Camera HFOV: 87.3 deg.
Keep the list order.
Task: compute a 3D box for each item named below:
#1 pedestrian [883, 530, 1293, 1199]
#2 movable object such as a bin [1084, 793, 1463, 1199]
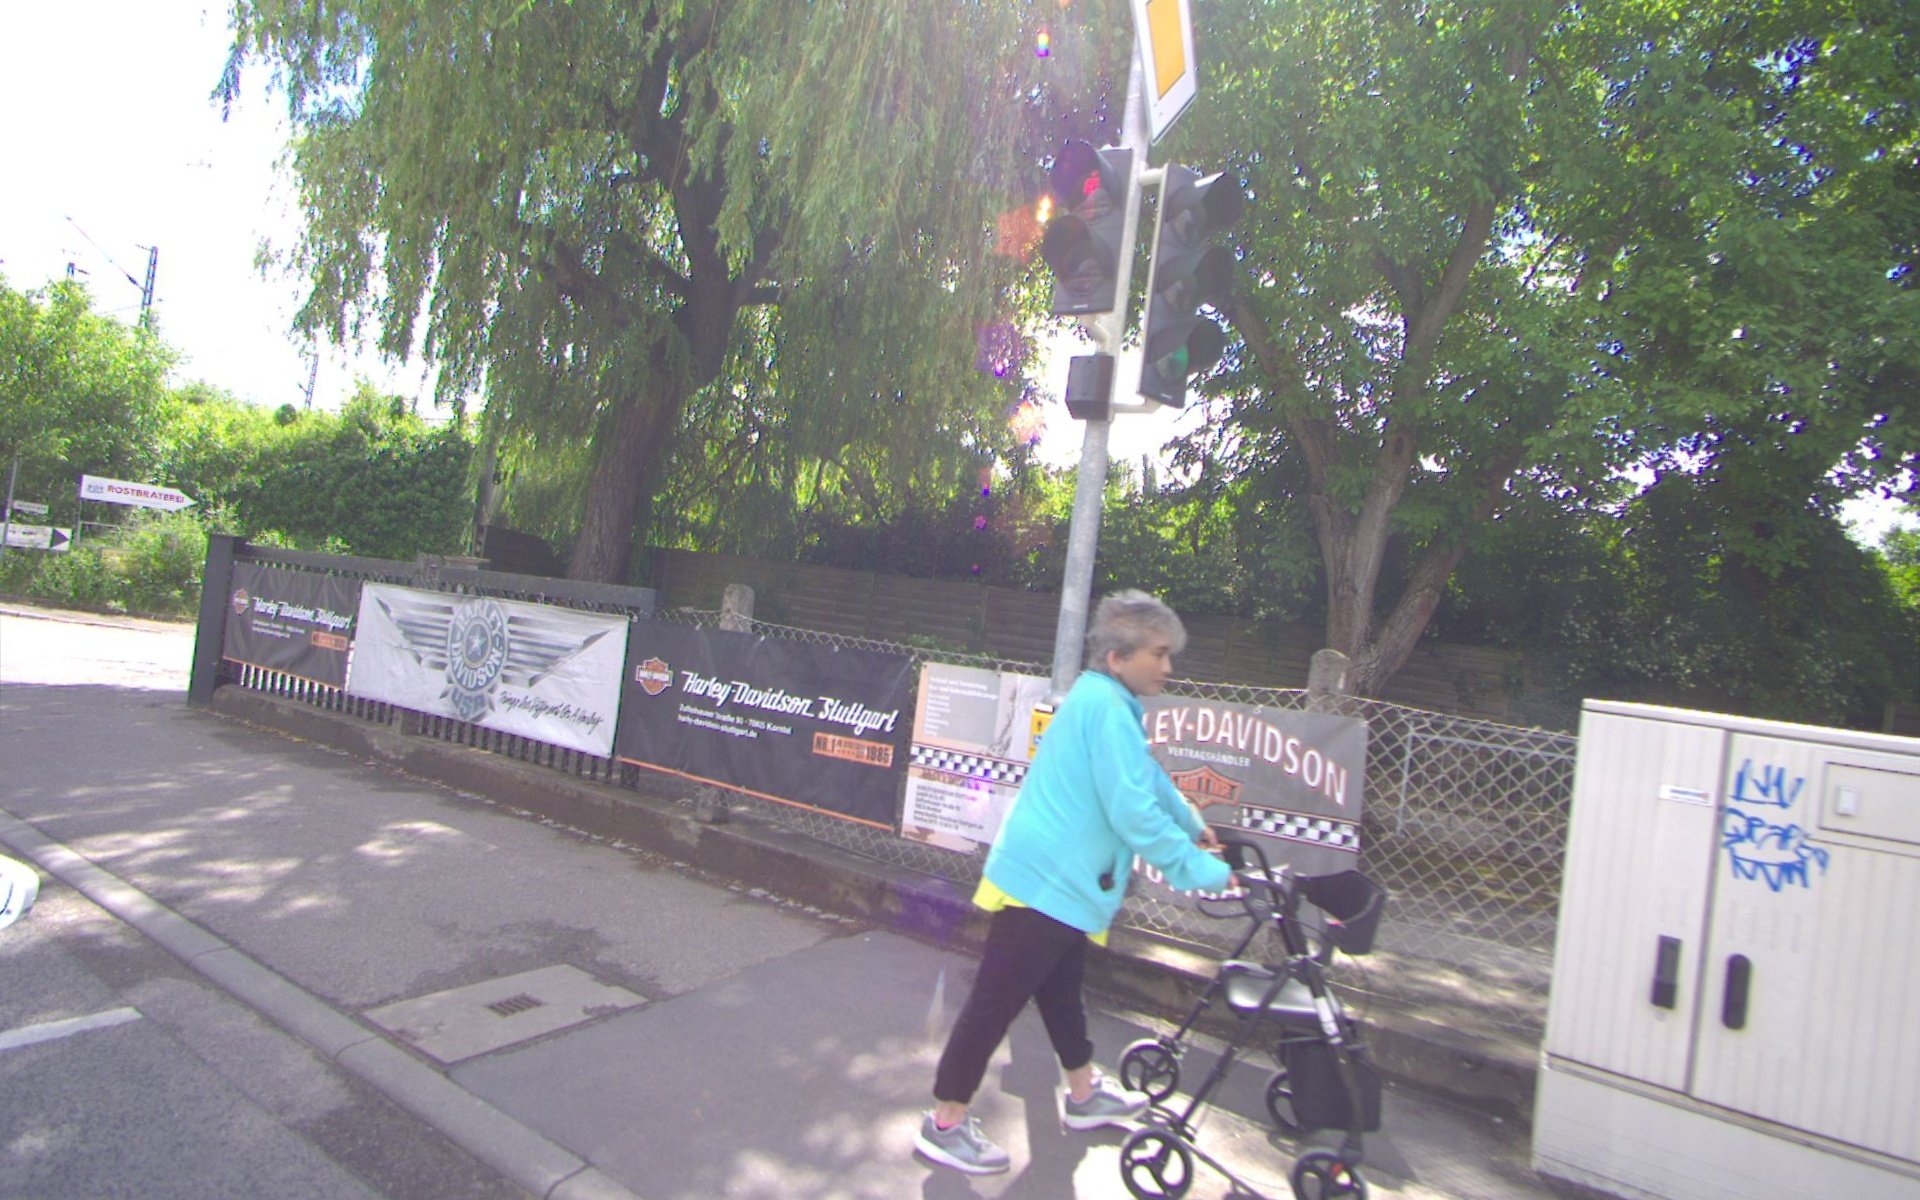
[{"bbox_3d":[0.291,0.676,2.784,0.826,1.561,0.734,7,-2,-4],"label":"pedestrian"},{"bbox_3d":[0.827,1.075,2.828,0.735,0.881,0.671,7,-2,-5],"label":"movable object such as a bin"}]
